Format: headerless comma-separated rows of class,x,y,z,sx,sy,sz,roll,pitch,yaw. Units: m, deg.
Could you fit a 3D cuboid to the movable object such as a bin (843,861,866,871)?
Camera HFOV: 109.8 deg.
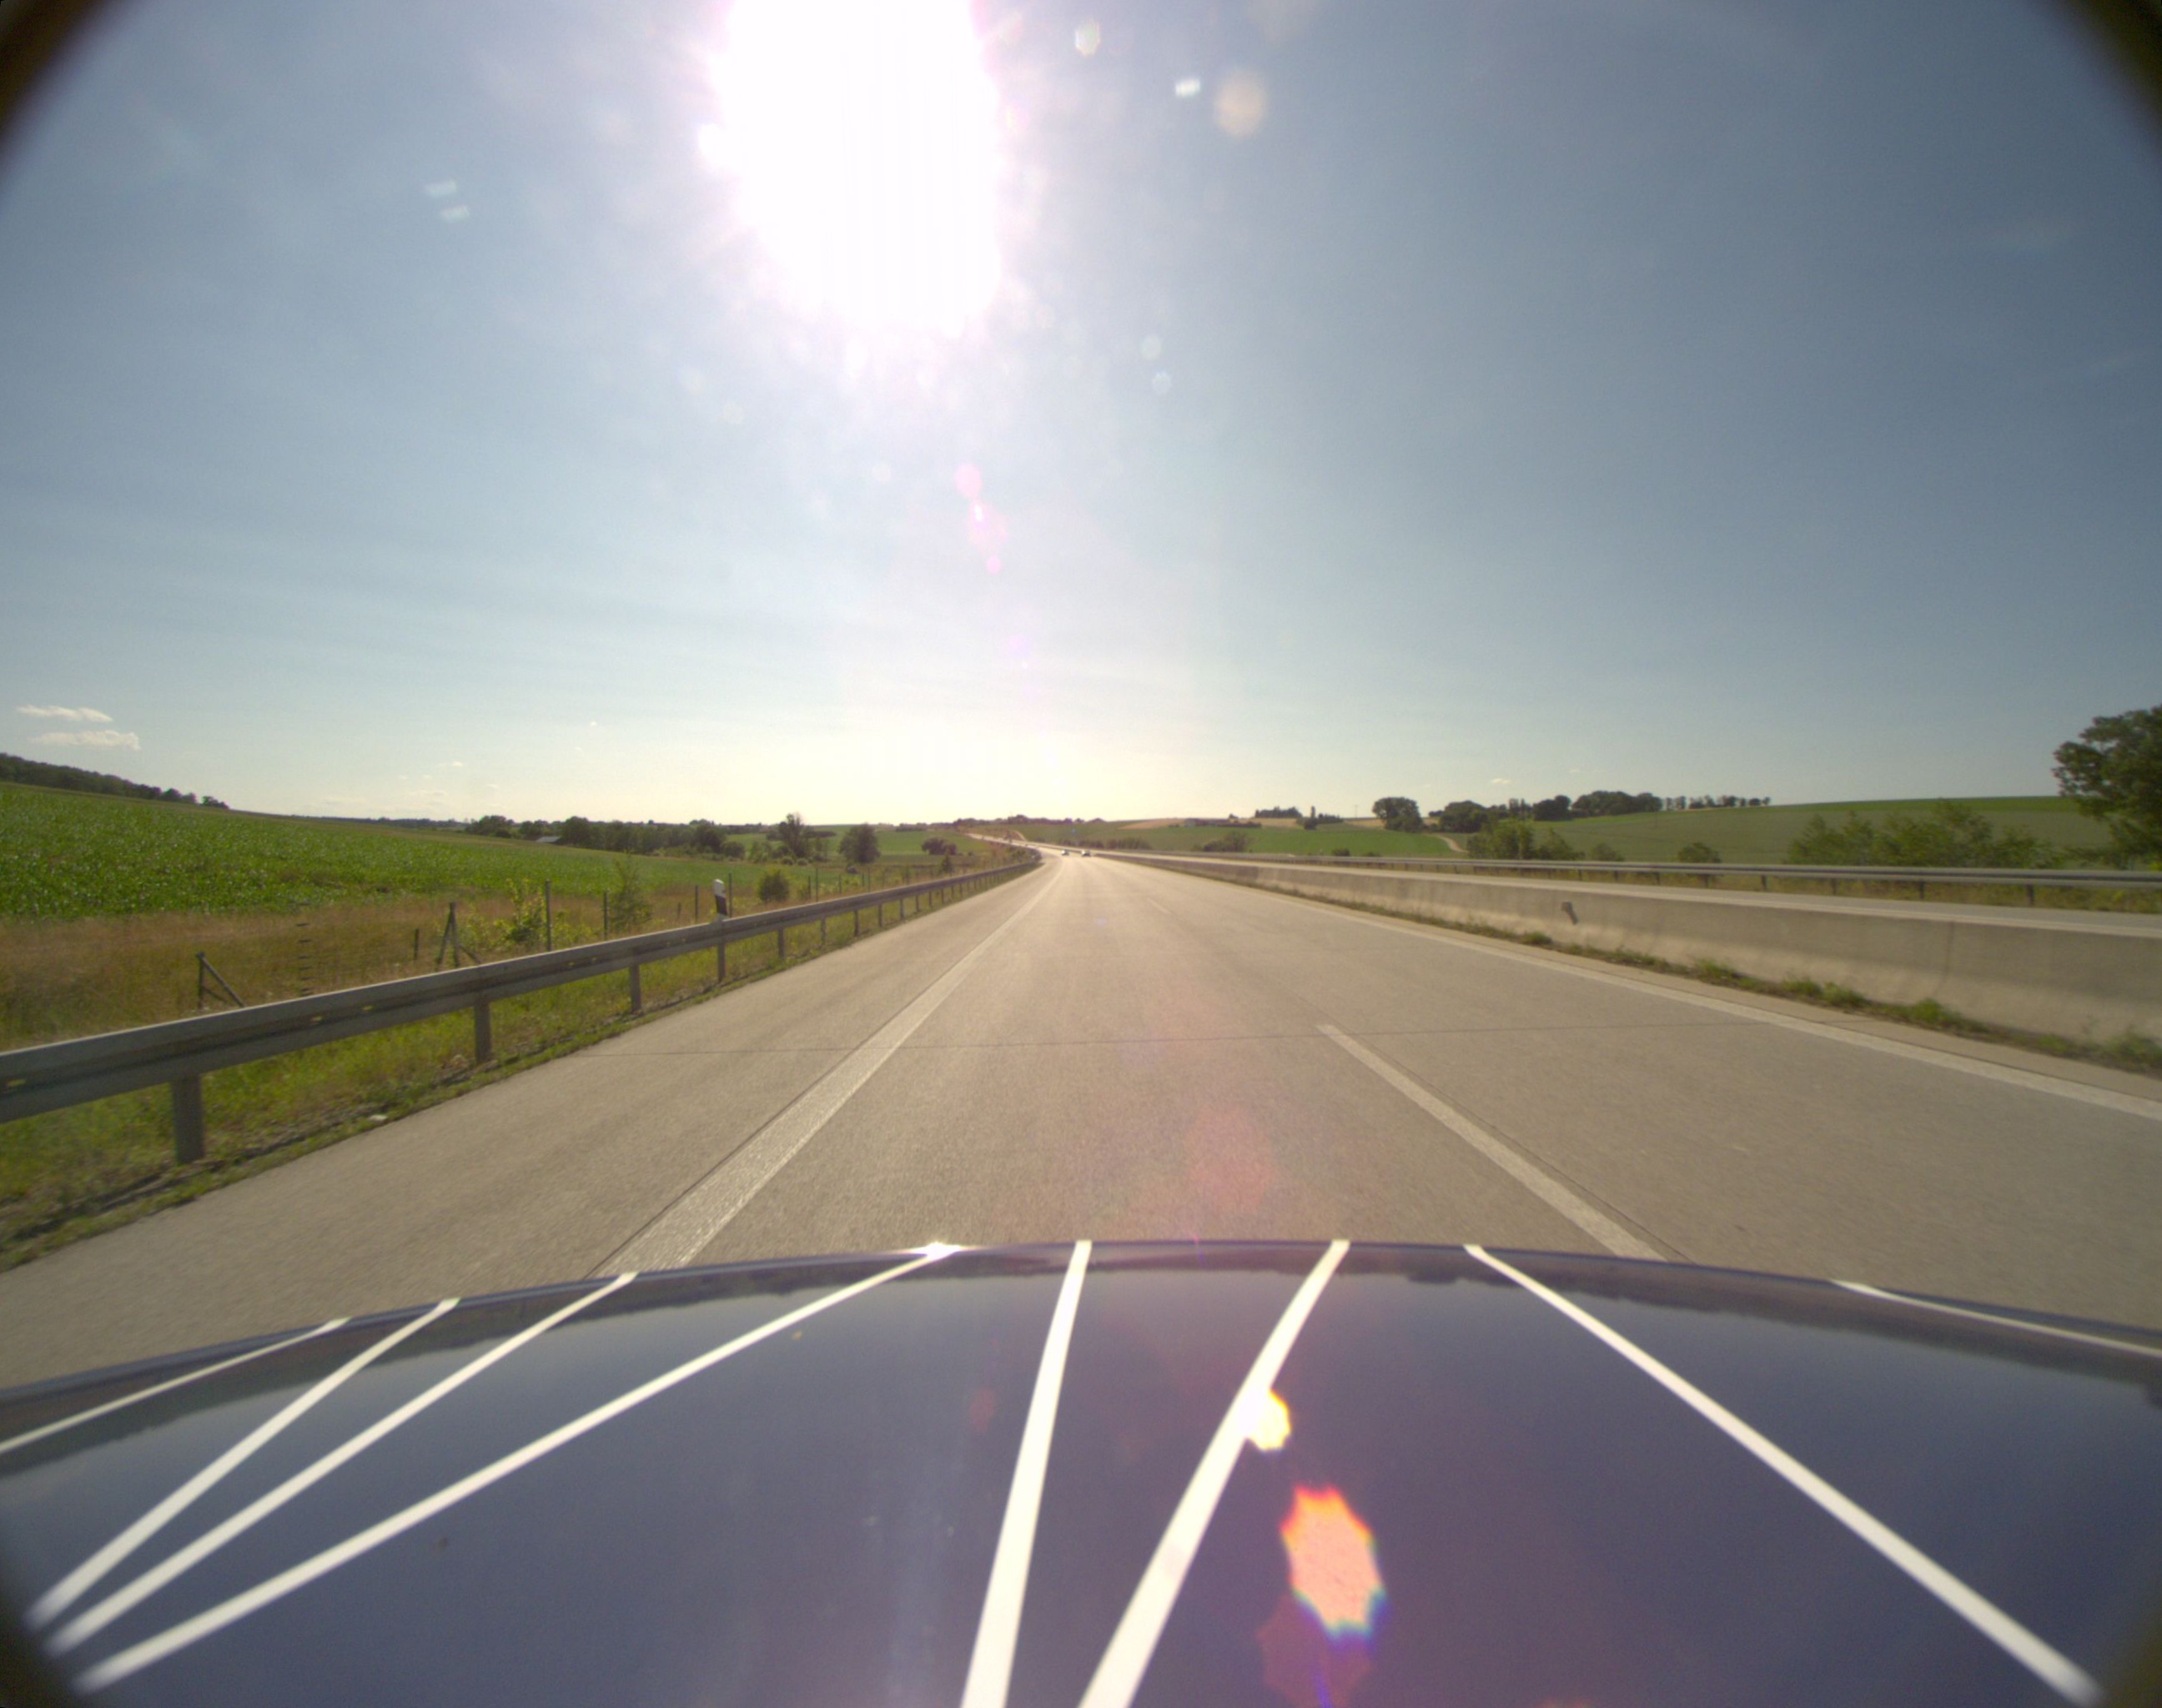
movable object such as a bin,-68.957,3.582,231.222,6.214,2.756,3.292,0,4,37

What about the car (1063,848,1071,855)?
car,-3.731,-0.672,202.646,1.715,1.581,4.623,-2,3,-3

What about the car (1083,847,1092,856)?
car,1.419,-0.573,165.291,1.715,1.581,4.625,-2,3,1
